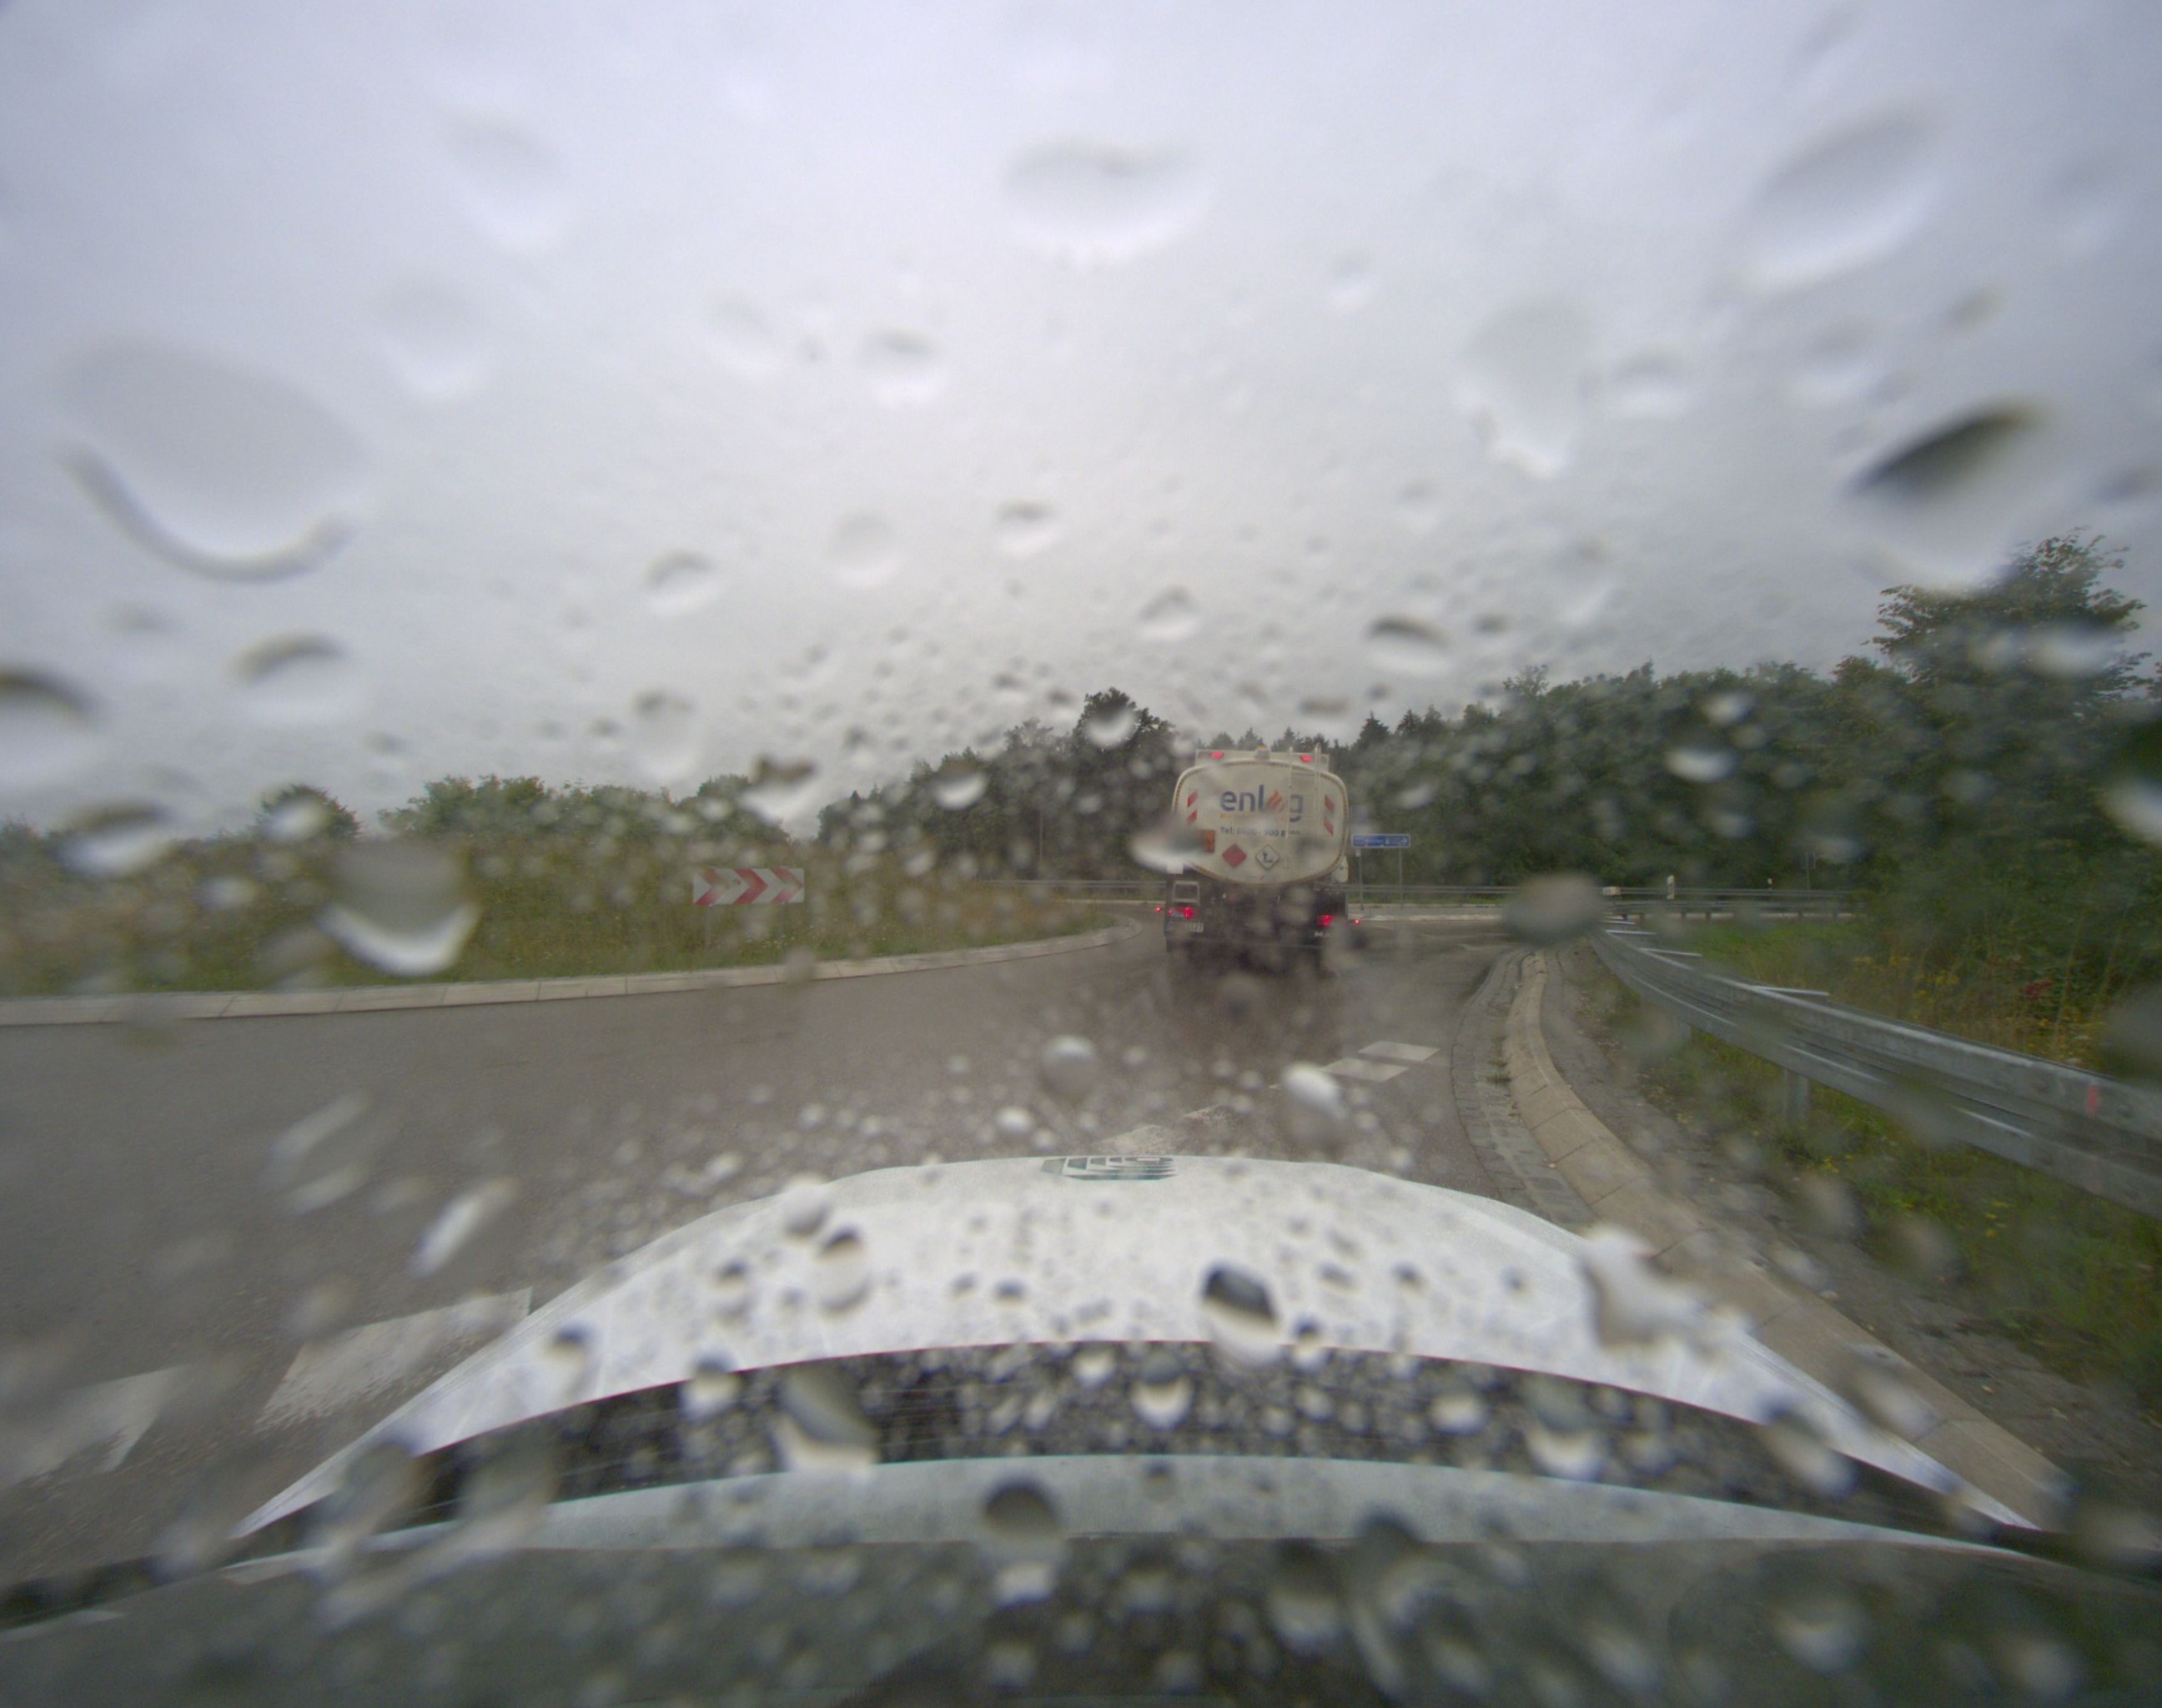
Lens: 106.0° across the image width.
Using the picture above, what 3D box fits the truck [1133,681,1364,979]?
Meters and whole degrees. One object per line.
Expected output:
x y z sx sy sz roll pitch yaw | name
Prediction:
3.327 -0.231 15.151 3.017 3.852 8.856 0 -1 15 | truck
